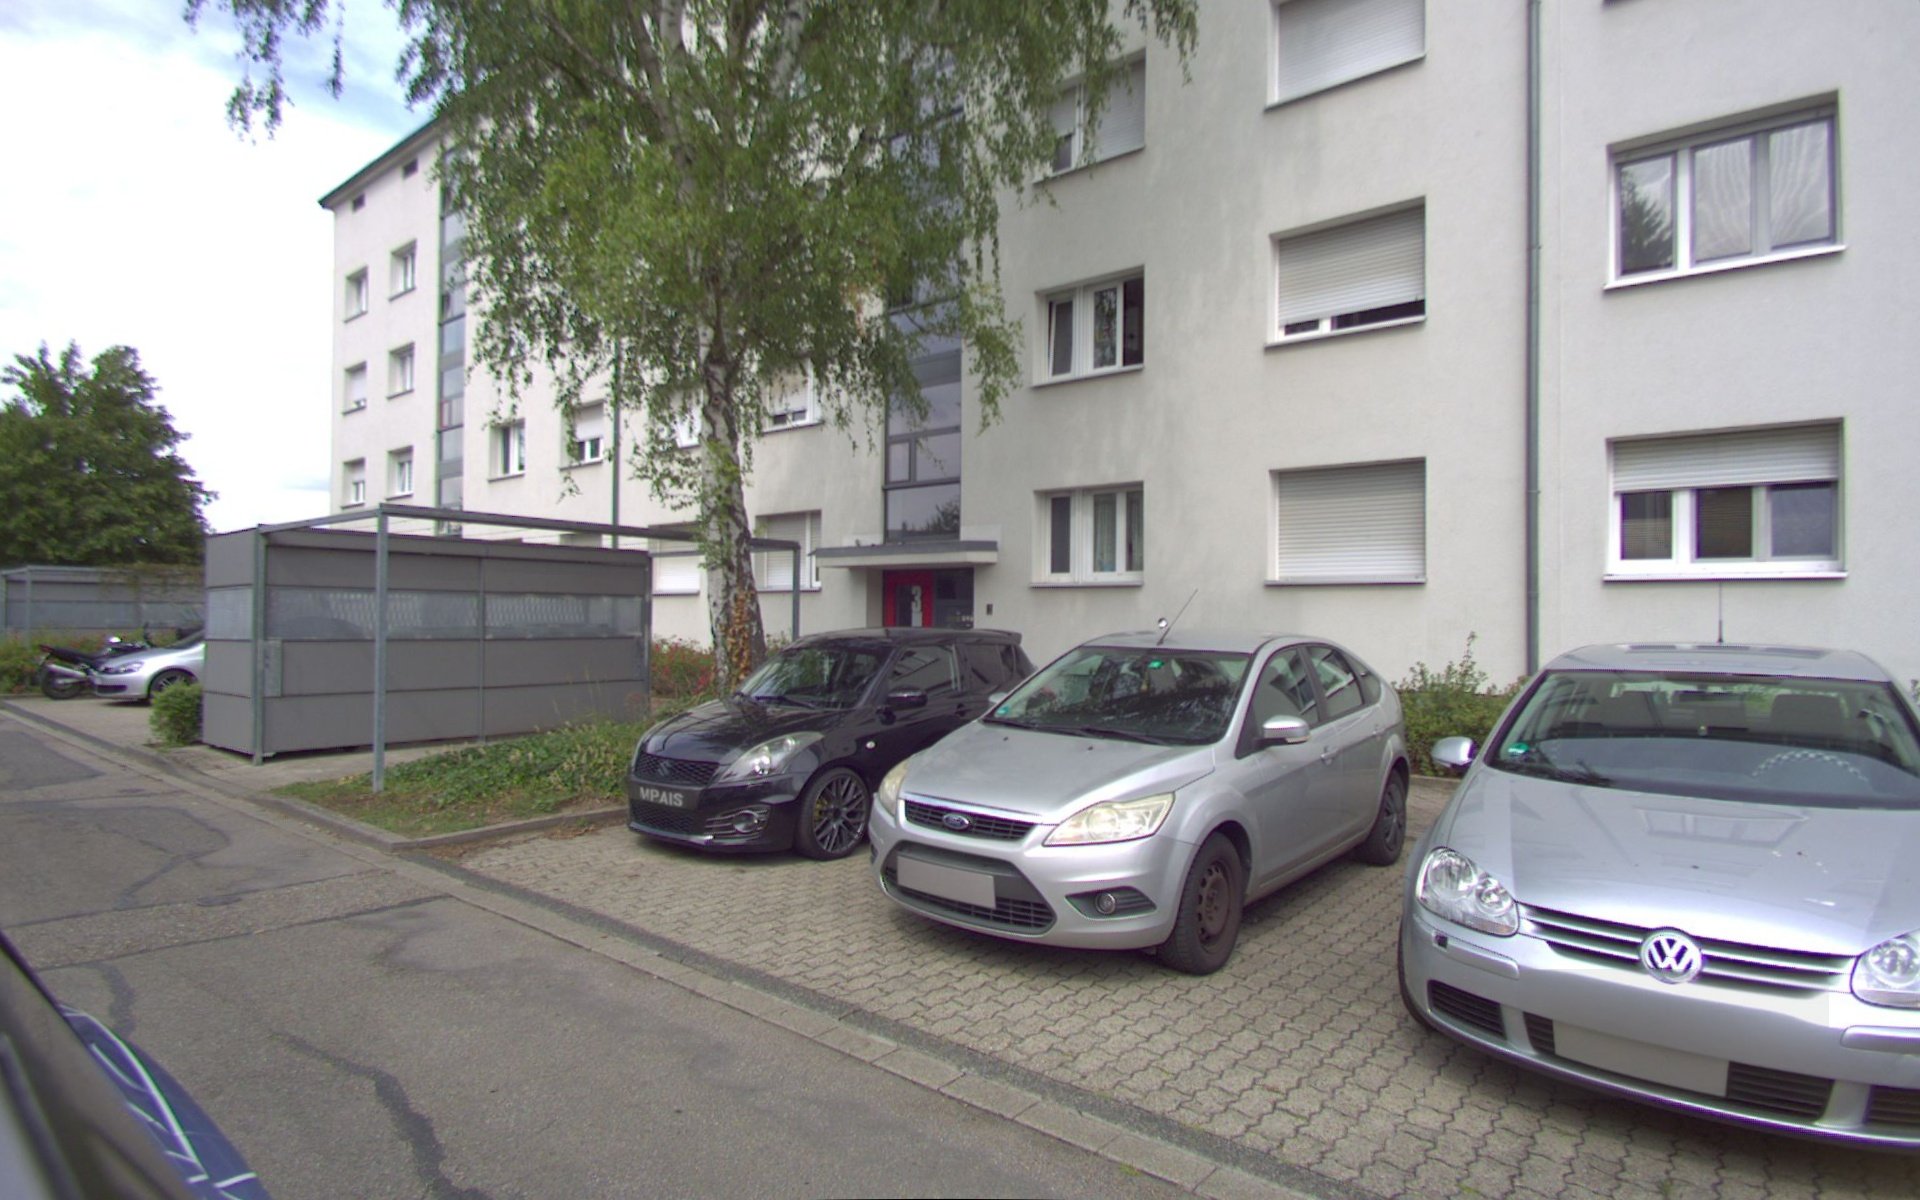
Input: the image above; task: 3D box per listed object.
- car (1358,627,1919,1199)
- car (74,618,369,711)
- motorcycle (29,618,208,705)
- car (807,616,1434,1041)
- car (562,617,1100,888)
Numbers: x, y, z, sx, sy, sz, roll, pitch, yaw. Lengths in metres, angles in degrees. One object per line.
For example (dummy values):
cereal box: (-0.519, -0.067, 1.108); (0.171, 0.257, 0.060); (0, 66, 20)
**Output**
car: (3.189, 0.887, 4.168); (1.780, 1.475, 4.011); (-1, -2, 39)
car: (-13.250, 1.158, 18.347); (1.901, 1.497, 3.945); (-1, -4, 41)
motorcycle: (-15.297, 1.125, 18.479); (0.713, 1.475, 2.353); (-1, -4, 39)
car: (1.233, 0.899, 5.780); (1.780, 1.516, 4.011); (-1, -2, 39)
car: (-0.724, 0.936, 7.826); (1.780, 1.516, 4.011); (-1, -2, 39)
